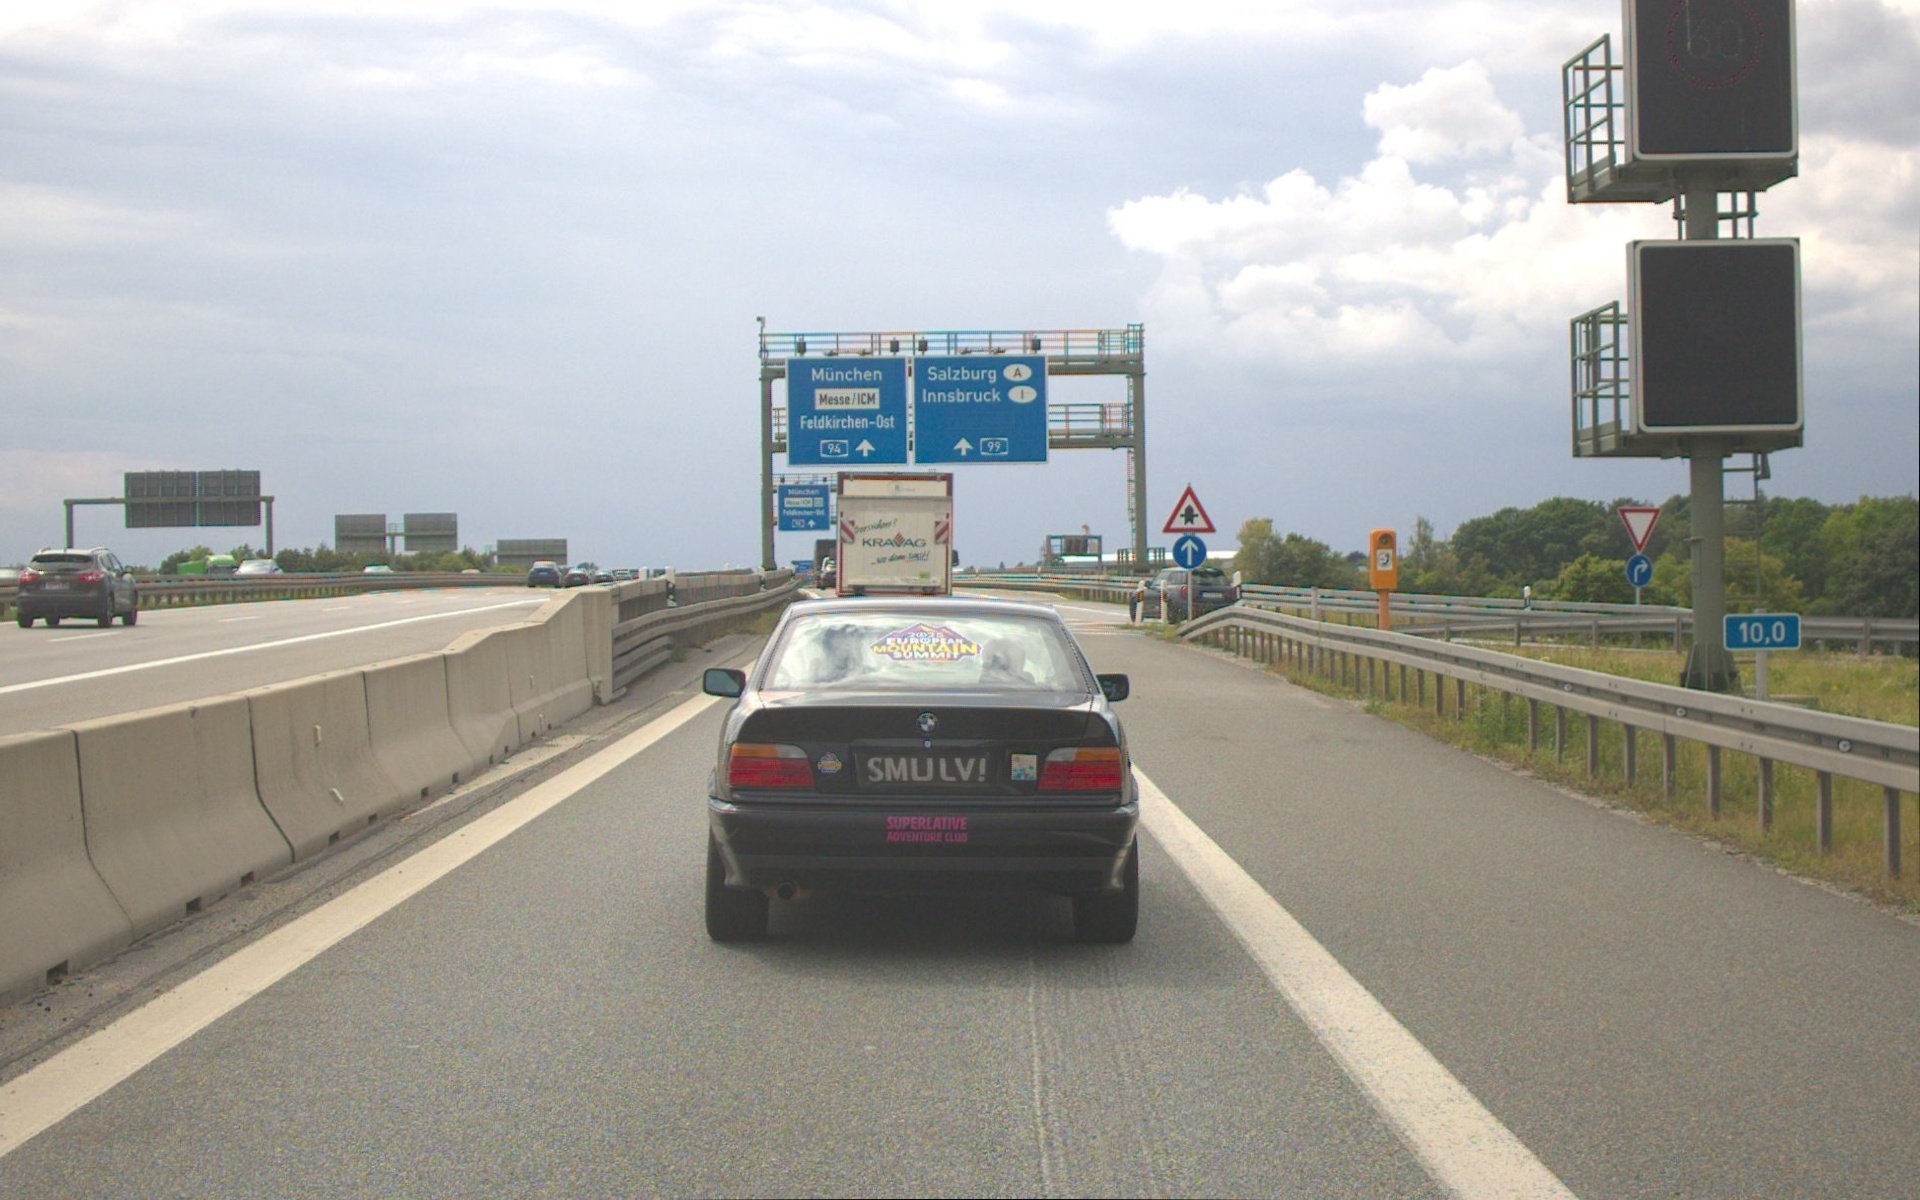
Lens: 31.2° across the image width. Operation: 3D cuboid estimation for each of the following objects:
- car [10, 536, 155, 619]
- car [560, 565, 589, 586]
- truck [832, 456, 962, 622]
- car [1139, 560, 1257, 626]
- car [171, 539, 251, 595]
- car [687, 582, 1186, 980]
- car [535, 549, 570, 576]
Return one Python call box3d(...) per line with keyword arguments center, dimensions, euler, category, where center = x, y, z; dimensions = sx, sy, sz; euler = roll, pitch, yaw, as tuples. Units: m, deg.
box3d(center=(-17.532, -0.475, 68.853), dimensions=(1.892, 1.592, 4.418), euler=(1, 1, -2), category="car")
box3d(center=(-28.685, -1.817, 256.156), dimensions=(1.993, 1.536, 4.001), euler=(0, 1, -4), category="car")
box3d(center=(-1.286, -1.190, 67.683), dimensions=(2.404, 3.079, 6.371), euler=(1, 1, -2), category="truck")
box3d(center=(5.809, -0.191, 84.314), dimensions=(1.993, 1.547, 4.001), euler=(1, 1, -10), category="car")
box3d(center=(-23.435, -1.032, 107.659), dimensions=(1.667, 1.700, 4.000), euler=(1, 1, -1), category="car")
box3d(center=(-0.083, 0.641, 14.418), dimensions=(1.782, 1.373, 4.137), euler=(1, 1, 0), category="car")
box3d(center=(-25.392, -2.323, 214.341), dimensions=(1.993, 1.656, 4.385), euler=(0, 1, -4), category="car")
